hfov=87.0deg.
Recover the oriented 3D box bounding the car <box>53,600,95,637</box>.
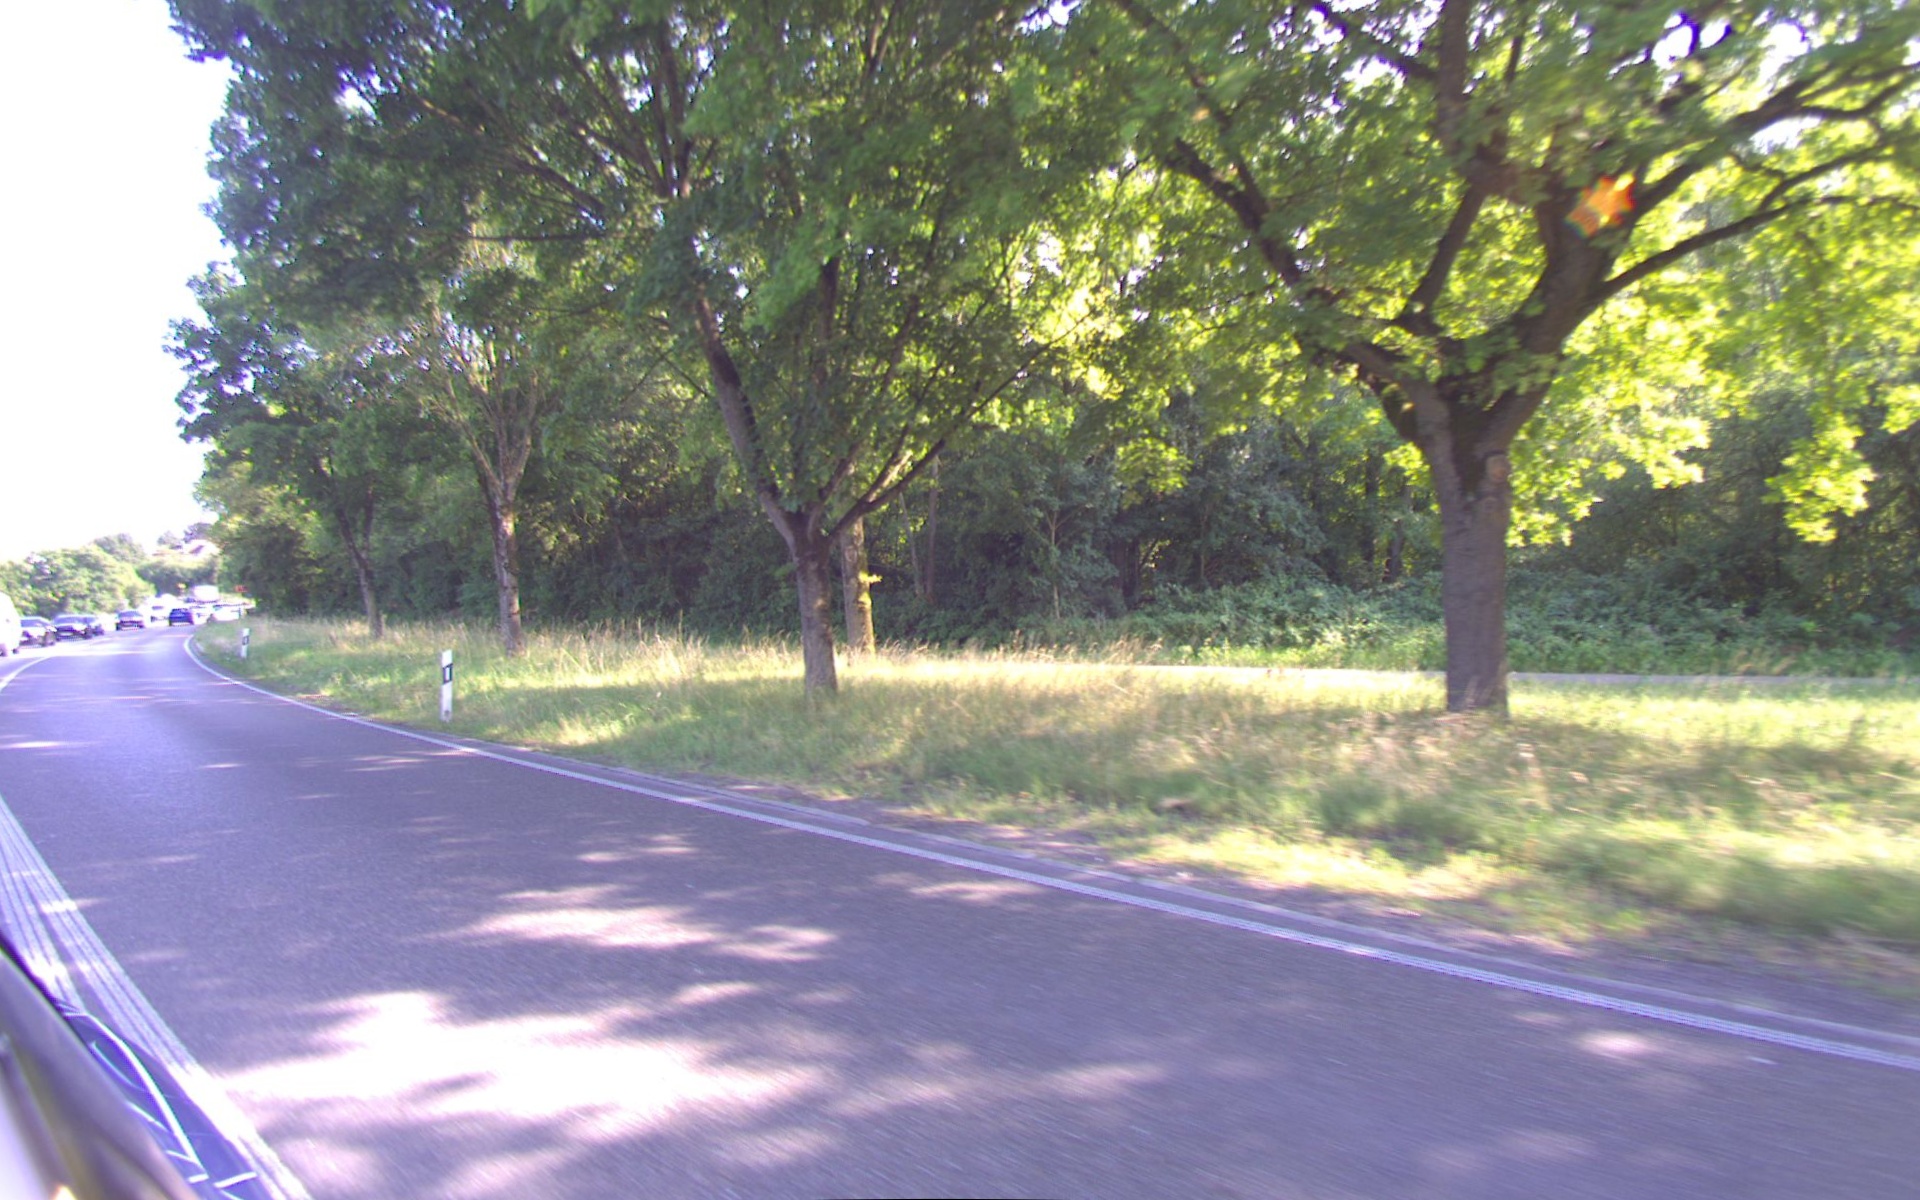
[{"bbox_3d":[-61.411,1.260,70.107,2.058,2.435,5.148,-1,0,-42],"label":"car"}]

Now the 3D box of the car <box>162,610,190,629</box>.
[{"bbox_3d":[-71.053,1.765,91.751,1.872,1.644,4.260,-1,0,-37],"label":"car"}]

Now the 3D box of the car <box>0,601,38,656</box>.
[{"bbox_3d":[-44.518,1.284,47.337,2.058,2.435,5.148,-1,0,-42],"label":"car"}]

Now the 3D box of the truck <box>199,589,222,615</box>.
[{"bbox_3d":[-156.528,0.468,211.483,3.574,5.210,10.486,-1,-1,-35],"label":"truck"}]

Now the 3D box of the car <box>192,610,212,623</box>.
[{"bbox_3d":[-99.561,2.199,133.009,1.865,1.644,4.262,-1,0,-34],"label":"car"}]

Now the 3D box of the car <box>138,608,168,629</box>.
[{"bbox_3d":[-96.360,2.147,120.869,2.054,2.435,5.157,-1,0,-31],"label":"car"}]

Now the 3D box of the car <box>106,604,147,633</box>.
[{"bbox_3d":[-72.879,1.615,88.547,2.054,2.435,5.157,-1,0,-31],"label":"car"}]

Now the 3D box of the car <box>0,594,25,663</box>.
[{"bbox_3d":[-35.820,1.021,36.850,2.056,2.435,5.153,-1,0,-37],"label":"car"}]

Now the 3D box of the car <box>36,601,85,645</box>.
[{"bbox_3d":[-52.360,1.282,58.898,2.058,2.435,5.148,-1,0,-42],"label":"car"}]

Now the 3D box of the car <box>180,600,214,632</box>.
[{"bbox_3d":[-61.391,1.271,81.401,2.056,2.435,5.153,-1,0,-38],"label":"car"}]
